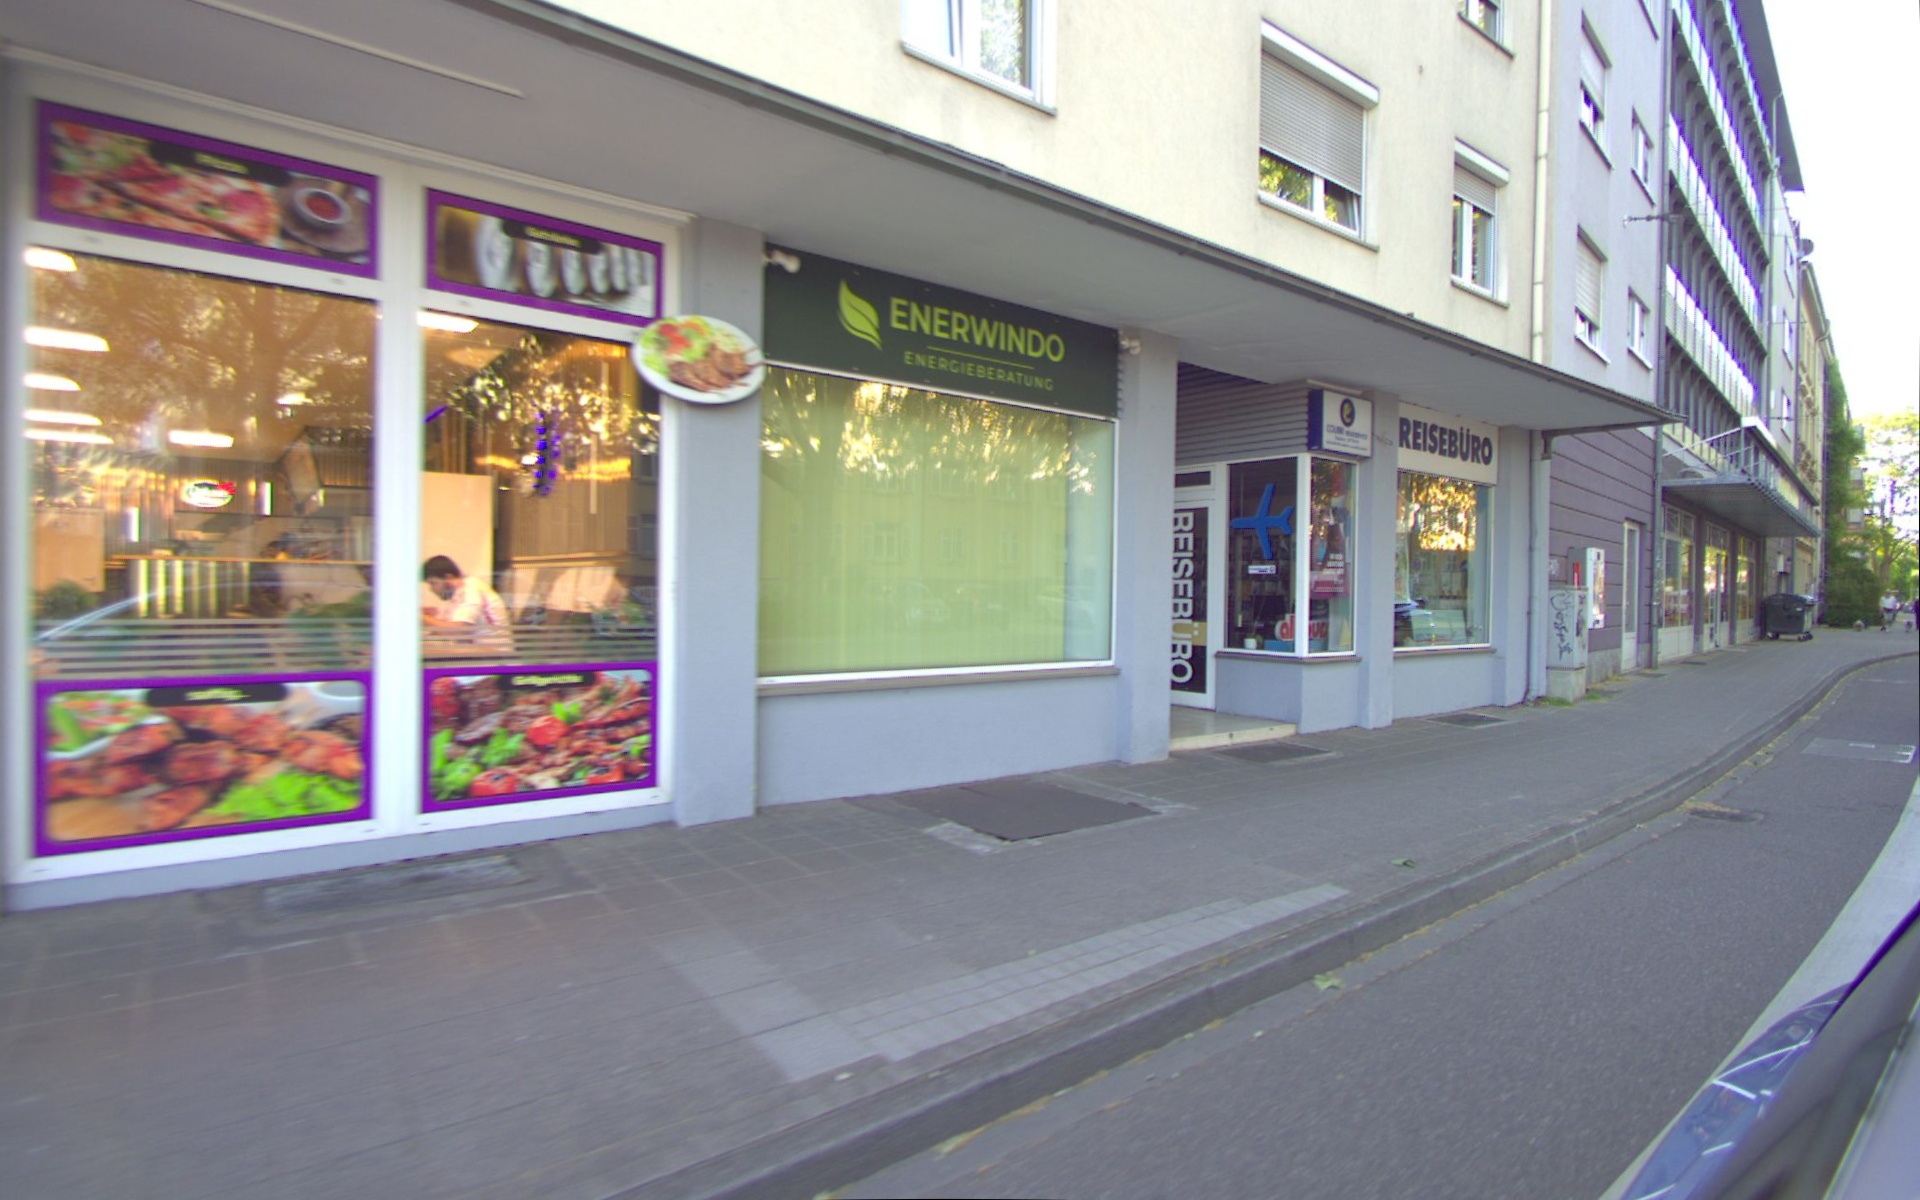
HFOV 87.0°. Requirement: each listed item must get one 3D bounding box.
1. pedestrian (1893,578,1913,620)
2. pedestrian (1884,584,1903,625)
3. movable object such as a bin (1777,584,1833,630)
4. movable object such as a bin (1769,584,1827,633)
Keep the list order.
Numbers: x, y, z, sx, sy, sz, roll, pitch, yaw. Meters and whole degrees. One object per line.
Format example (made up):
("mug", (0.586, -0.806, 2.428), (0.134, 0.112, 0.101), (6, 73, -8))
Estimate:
("pedestrian", (38.420, -0.065, 41.231), (0.620, 1.693, 0.540), (0, 1, -43))
("pedestrian", (39.652, 0.183, 43.003), (0.620, 1.743, 0.540), (0, 1, -43))
("movable object such as a bin", (26.805, 0.206, 32.093), (1.349, 1.427, 1.202), (0, 1, -43))
("movable object such as a bin", (25.418, 0.248, 30.696), (1.349, 1.427, 1.202), (0, 1, -43))
